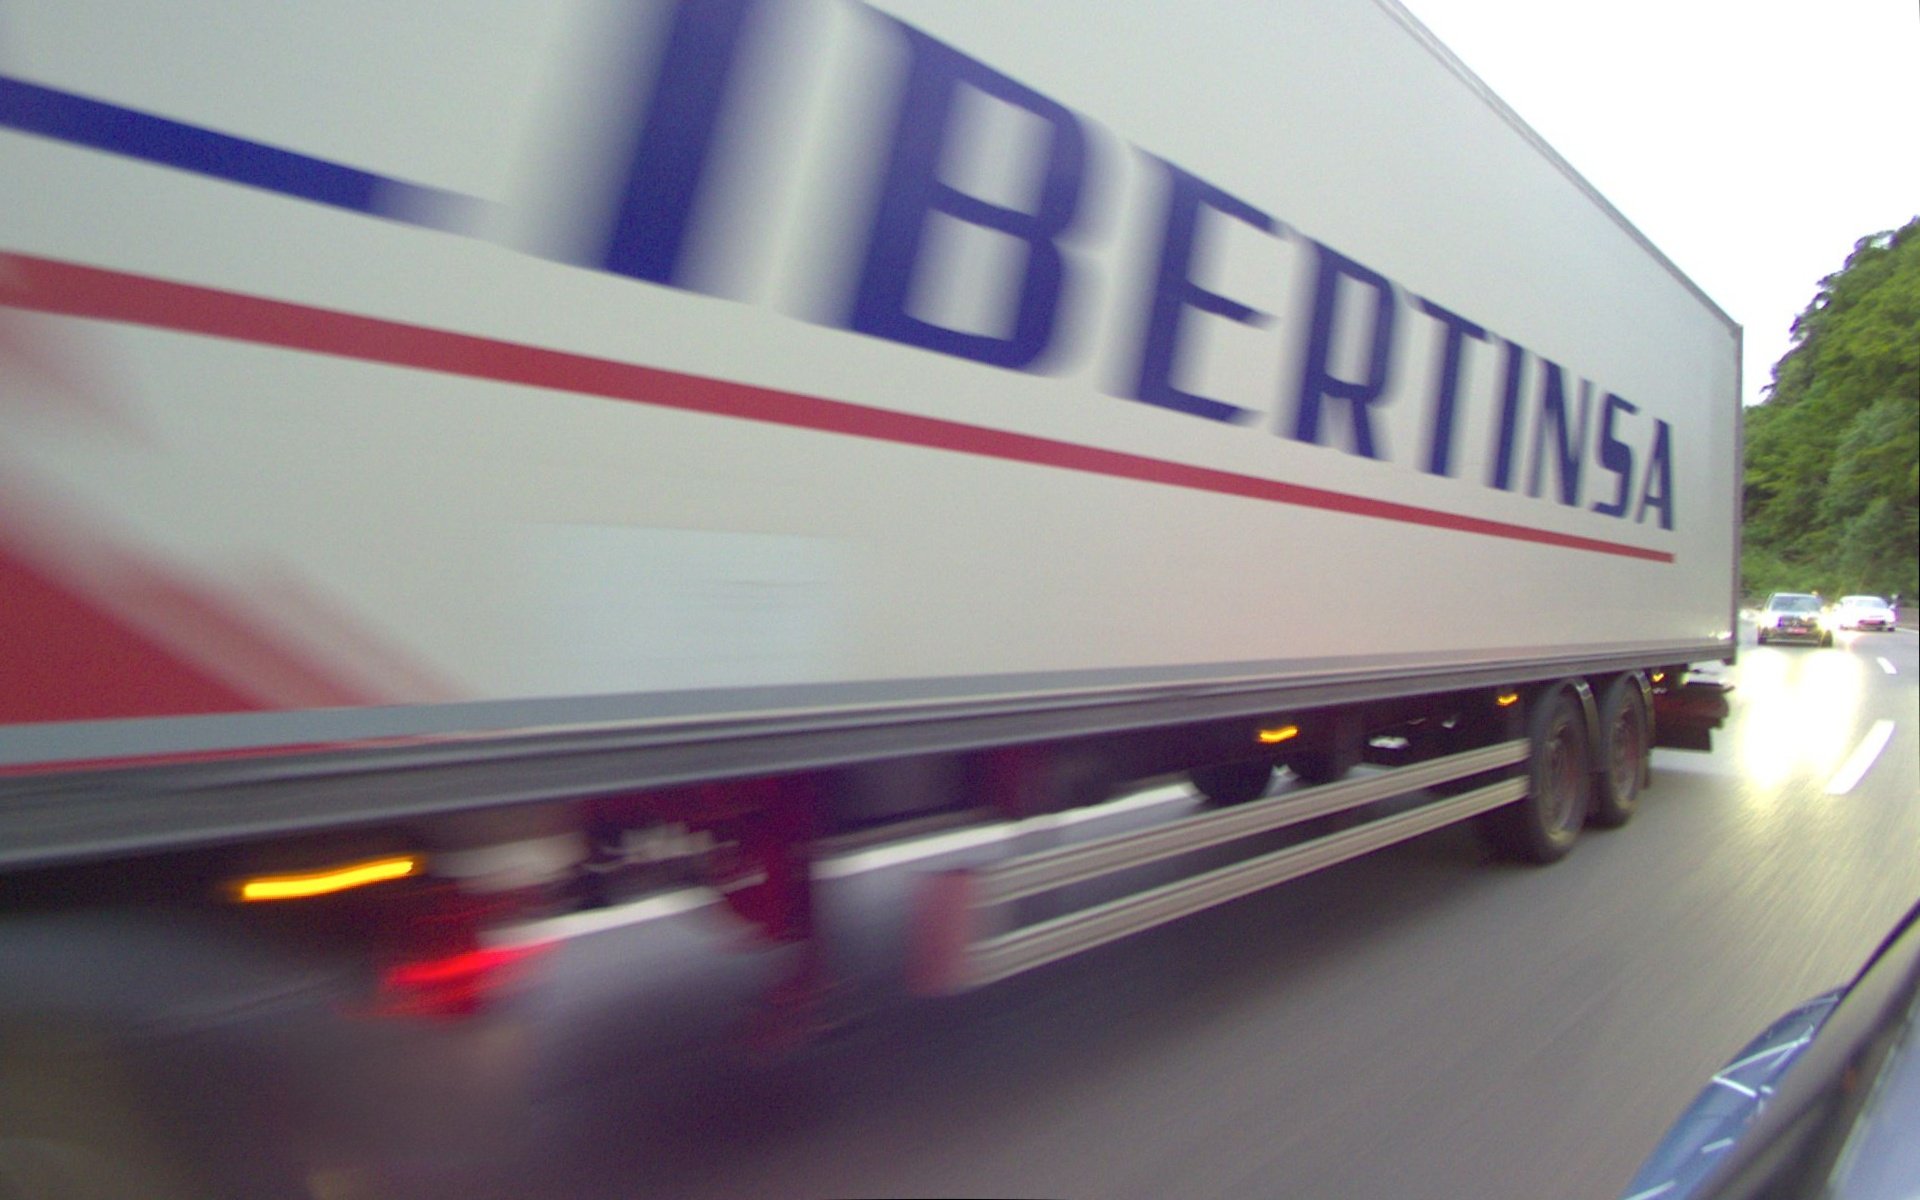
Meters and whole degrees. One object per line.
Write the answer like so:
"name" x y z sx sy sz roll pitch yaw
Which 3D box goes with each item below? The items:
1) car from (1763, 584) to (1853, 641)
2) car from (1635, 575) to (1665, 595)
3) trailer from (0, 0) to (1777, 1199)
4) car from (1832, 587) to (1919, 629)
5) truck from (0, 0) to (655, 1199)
"car" 26.924 0.356 32.238 1.989 1.660 3.946 1 1 37
"car" 65.982 -1.430 96.837 1.985 1.637 3.957 7 4 30
"trailer" 0.872 -0.584 5.134 13.978 4.019 3.101 0 2 -43
"car" 39.574 0.284 43.832 1.986 1.526 3.956 5 4 31
"truck" -3.891 -0.677 0.791 6.336 4.196 3.074 -1 1 -42
